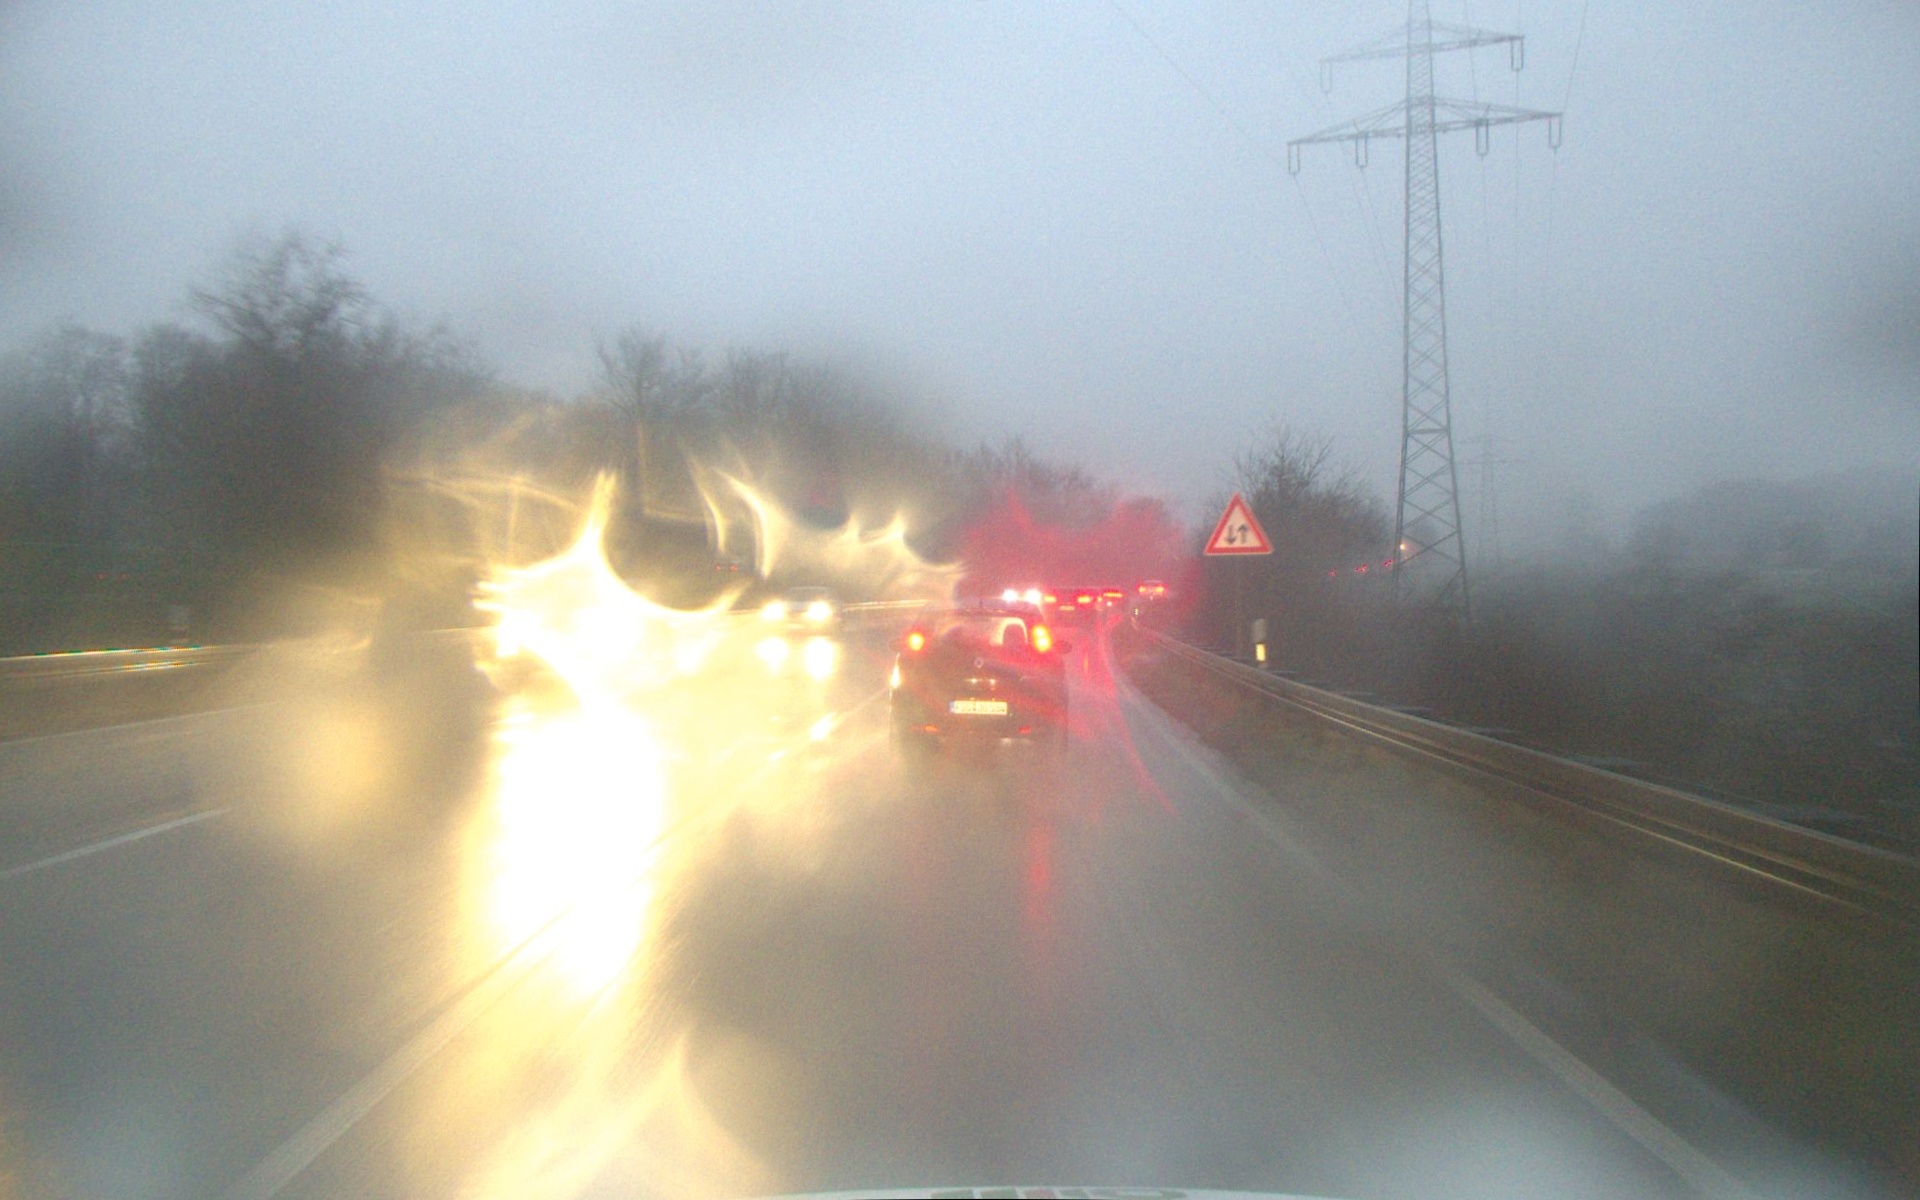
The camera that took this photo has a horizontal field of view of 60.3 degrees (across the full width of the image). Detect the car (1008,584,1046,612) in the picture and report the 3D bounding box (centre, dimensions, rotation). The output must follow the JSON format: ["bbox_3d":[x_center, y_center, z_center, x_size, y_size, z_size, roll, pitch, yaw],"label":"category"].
[{"bbox_3d":[3.849,-0.138,94.306,1.824,1.527,4.525,0,0,7],"label":"car"}]

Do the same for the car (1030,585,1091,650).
[{"bbox_3d":[3.347,0.536,54.869,1.905,2.049,4.002,1,1,4],"label":"car"}]

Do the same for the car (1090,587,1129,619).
[{"bbox_3d":[8.477,0.176,93.536,1.904,1.775,4.003,0,0,9],"label":"car"}]

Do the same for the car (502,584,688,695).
[{"bbox_3d":[-5.773,0.594,26.716,1.849,1.617,4.383,1,0,2],"label":"car"}]

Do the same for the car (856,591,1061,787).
[{"bbox_3d":[-0.002,0.762,16.427,1.695,1.559,4.042,-4,1,0],"label":"car"}]

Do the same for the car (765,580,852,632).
[{"bbox_3d":[-4.624,0.183,51.050,1.951,1.516,4.384,1,0,4],"label":"car"}]
